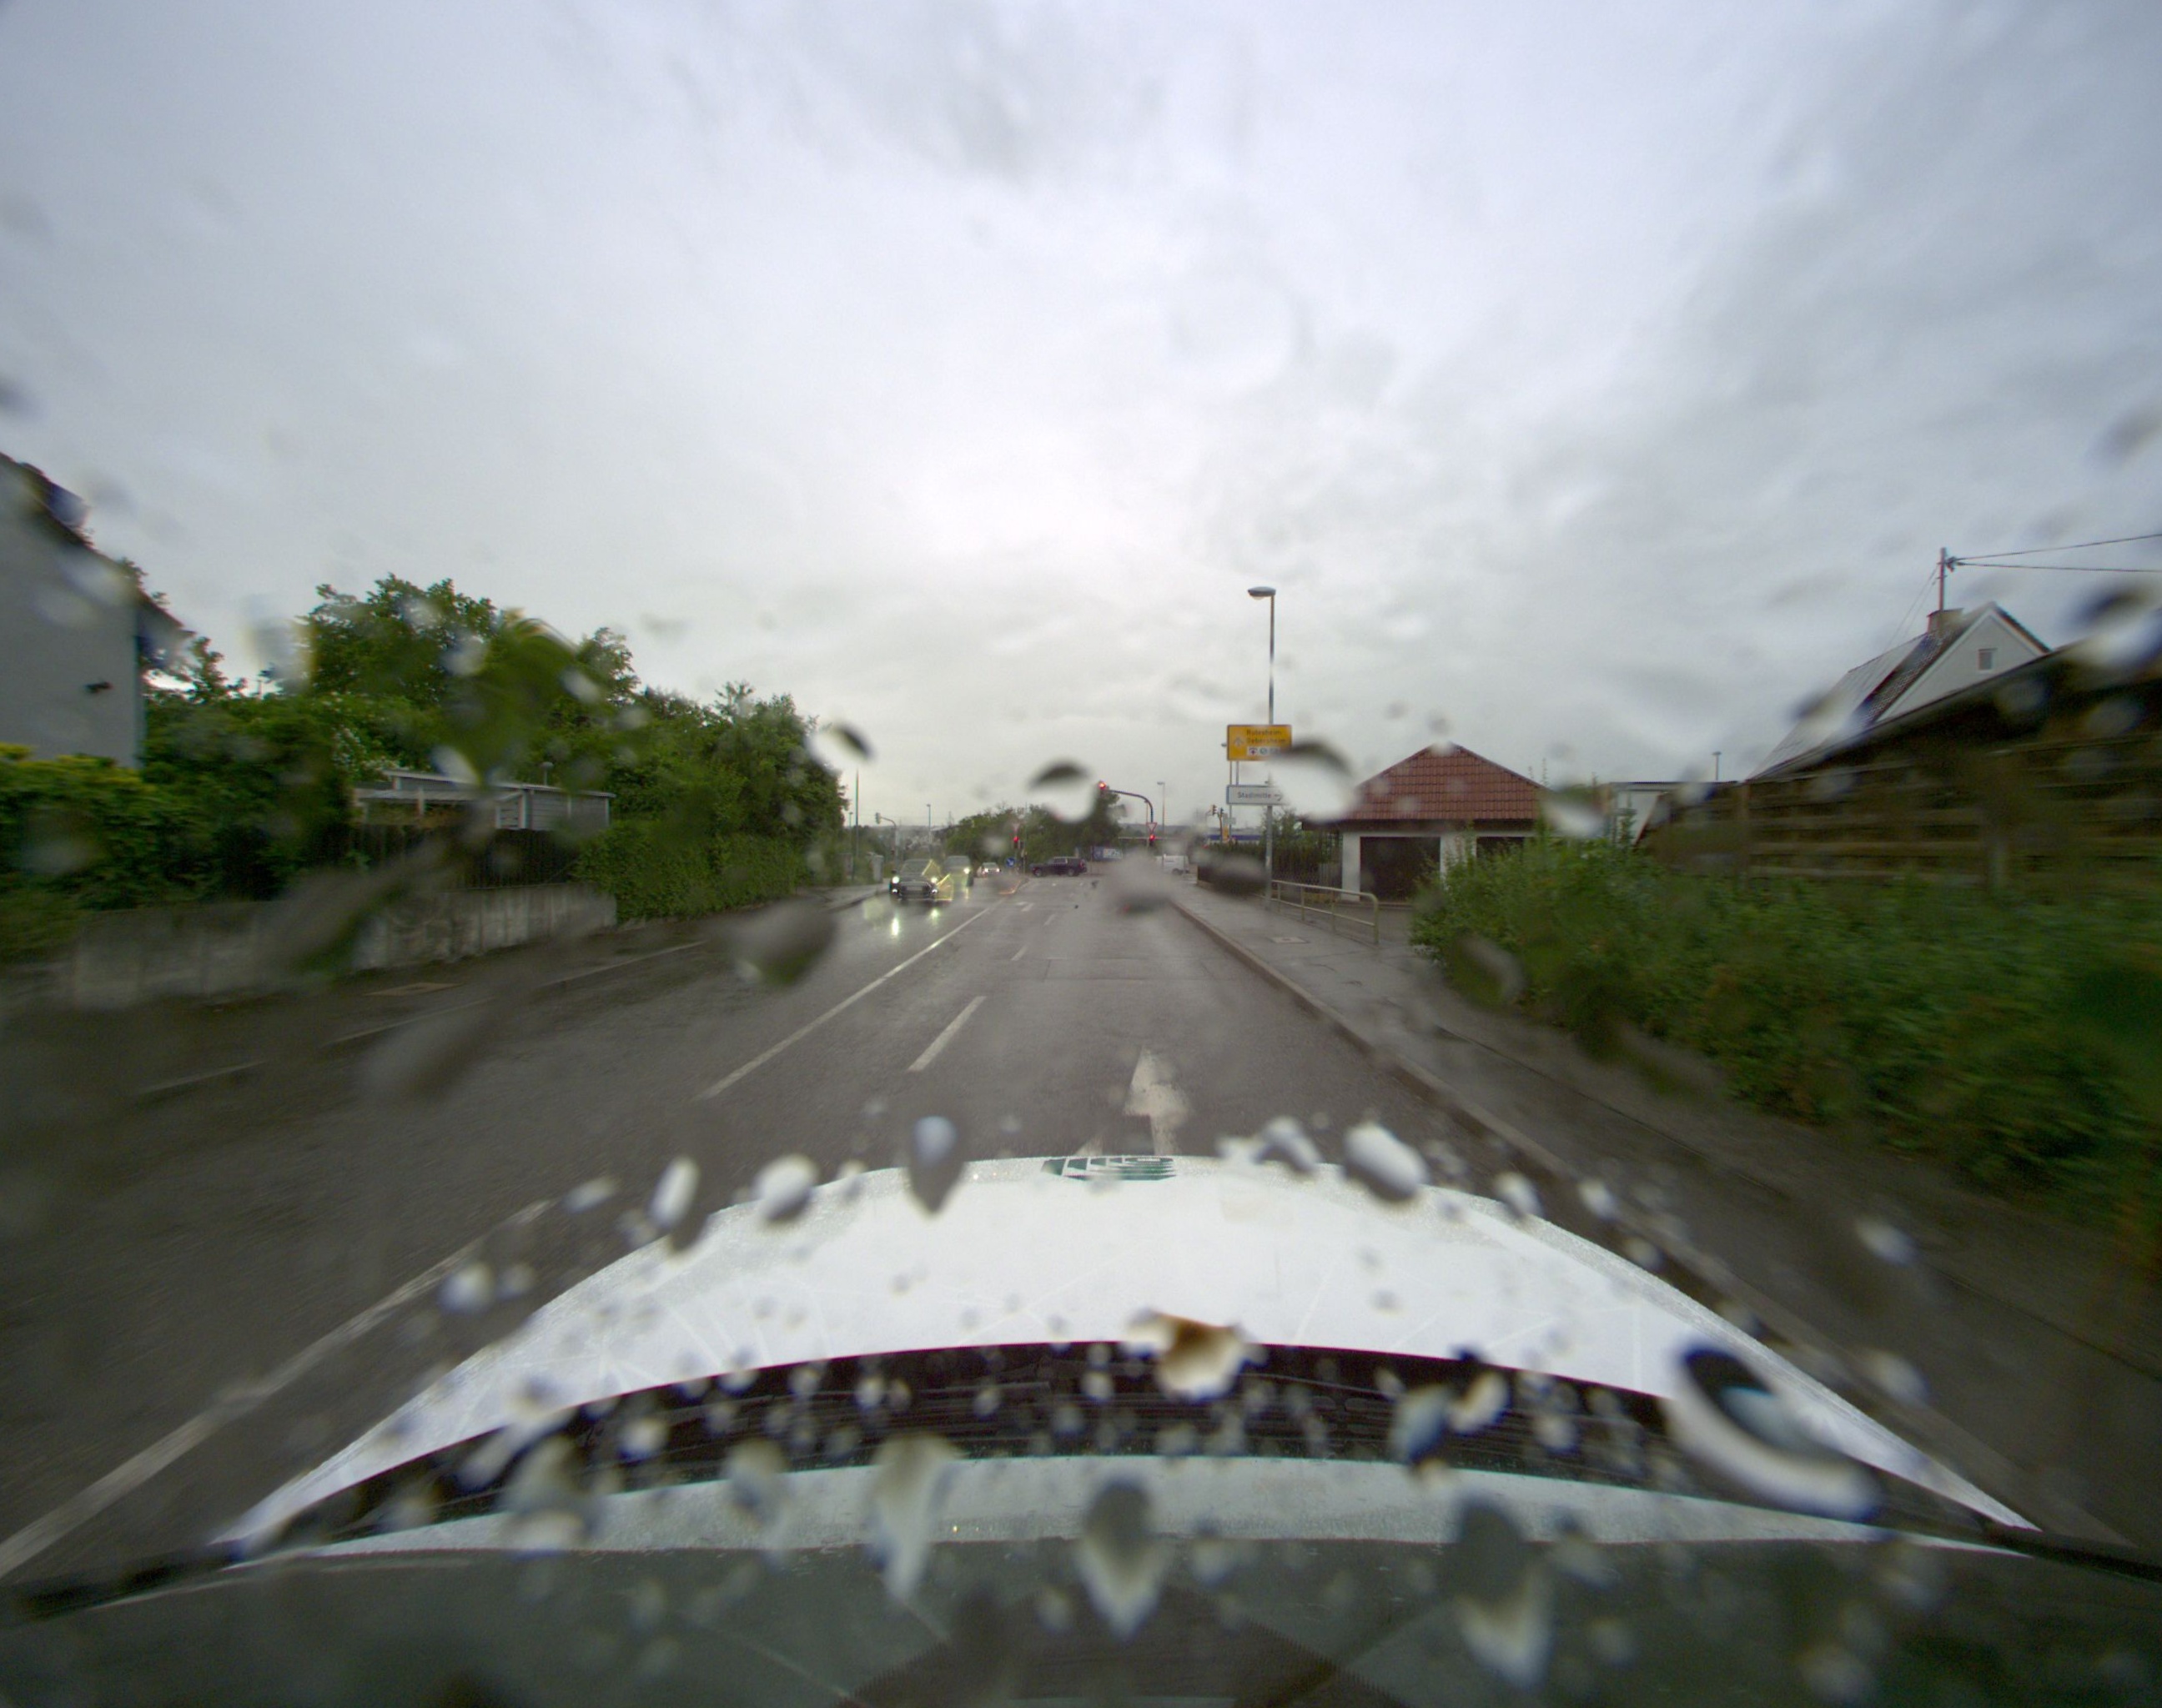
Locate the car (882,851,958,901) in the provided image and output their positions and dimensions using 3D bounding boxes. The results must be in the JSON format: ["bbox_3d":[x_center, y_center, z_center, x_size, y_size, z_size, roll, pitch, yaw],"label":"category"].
[{"bbox_3d":[-5.387,0.688,27.759,1.799,1.523,3.999,0,0,0],"label":"car"}]

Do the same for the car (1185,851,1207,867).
[{"bbox_3d":[15.233,0.672,107.806,1.976,2.013,4.022,1,0,22],"label":"car"}]

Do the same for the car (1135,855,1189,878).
[{"bbox_3d":[7.581,1.149,76.150,4.827,2.013,1.783,1,0,10],"label":"car"}]

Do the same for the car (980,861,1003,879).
[{"bbox_3d":[-10.830,1.872,98.513,1.999,2.013,3.976,-2,0,-18],"label":"car"}]

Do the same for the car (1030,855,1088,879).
[{"bbox_3d":[-2.194,1.307,81.713,5.432,2.013,2.006,-4,0,10],"label":"car"}]

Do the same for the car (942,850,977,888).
[{"bbox_3d":[-6.762,0.802,45.640,1.769,2.013,3.992,0,0,-6],"label":"car"}]
